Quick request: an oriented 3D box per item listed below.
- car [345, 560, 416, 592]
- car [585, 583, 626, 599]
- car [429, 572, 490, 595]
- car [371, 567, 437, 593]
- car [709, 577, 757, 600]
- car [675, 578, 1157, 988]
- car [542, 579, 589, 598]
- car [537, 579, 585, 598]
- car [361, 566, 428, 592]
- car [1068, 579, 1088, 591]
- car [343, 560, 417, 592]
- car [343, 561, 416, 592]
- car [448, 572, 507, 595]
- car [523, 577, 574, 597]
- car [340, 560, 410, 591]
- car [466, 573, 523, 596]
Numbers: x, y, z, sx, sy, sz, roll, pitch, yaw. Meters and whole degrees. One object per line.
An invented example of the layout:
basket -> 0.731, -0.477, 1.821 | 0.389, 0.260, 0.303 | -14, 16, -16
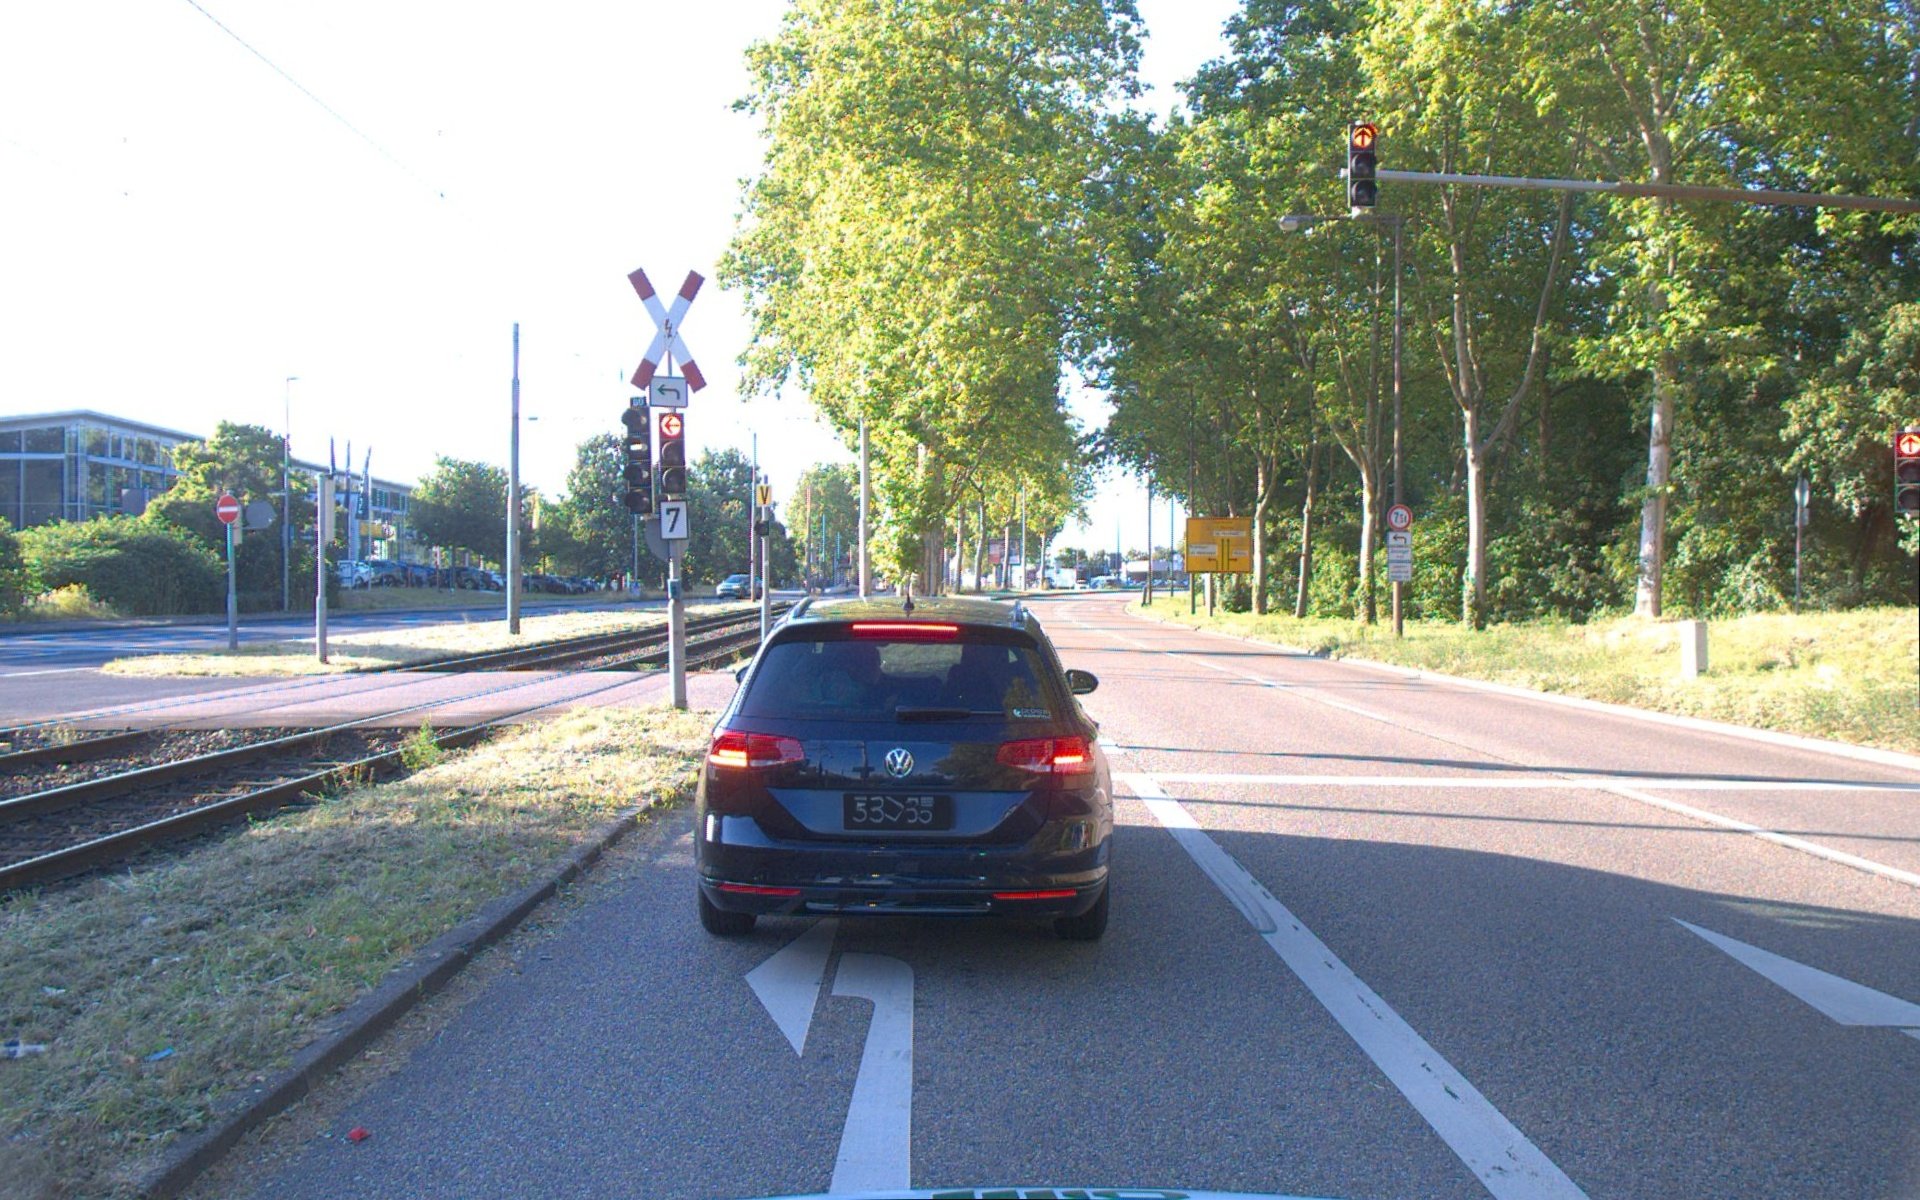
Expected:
car -> -34.594, -1.435, 98.760 | 3.931, 1.848, 1.732 | 1, 0, -22
car -> -36.205, -0.885, 168.916 | 3.909, 1.583, 1.742 | 1, 0, -5
car -> -35.956, -1.208, 118.804 | 3.911, 1.583, 1.741 | 1, 0, -7
car -> -35.704, -1.293, 106.191 | 3.931, 1.583, 1.732 | 1, 0, -22
car -> -15.845, -0.799, 115.512 | 1.822, 1.507, 4.175 | 1, 1, 15
car -> -0.199, 0.670, 7.910 | 1.759, 1.490, 3.582 | 1, 0, -1
car -> -35.734, -1.021, 150.013 | 3.909, 1.649, 1.742 | 1, 0, -6
car -> -35.433, -1.036, 146.855 | 3.909, 1.649, 1.742 | 1, 0, -6
car -> -35.359, -1.311, 103.413 | 3.931, 1.583, 1.732 | 1, 0, -22
car -> 15.363, -1.974, 215.286 | 1.827, 1.507, 4.083 | 1, 0, -9
car -> -33.056, -1.348, 94.199 | 3.931, 1.734, 1.732 | 1, 0, -22
car -> -33.842, -1.364, 96.436 | 3.931, 1.734, 1.732 | 1, 0, -22
car -> -35.753, -1.205, 122.735 | 3.909, 1.649, 1.742 | 1, 0, -6
car -> -34.755, -1.072, 139.710 | 3.909, 1.649, 1.742 | 1, 0, -6
car -> -35.553, -1.471, 100.557 | 3.931, 1.848, 1.732 | 1, 0, -22
car -> -35.427, -1.174, 125.952 | 3.909, 1.649, 1.742 | 1, 0, -6
